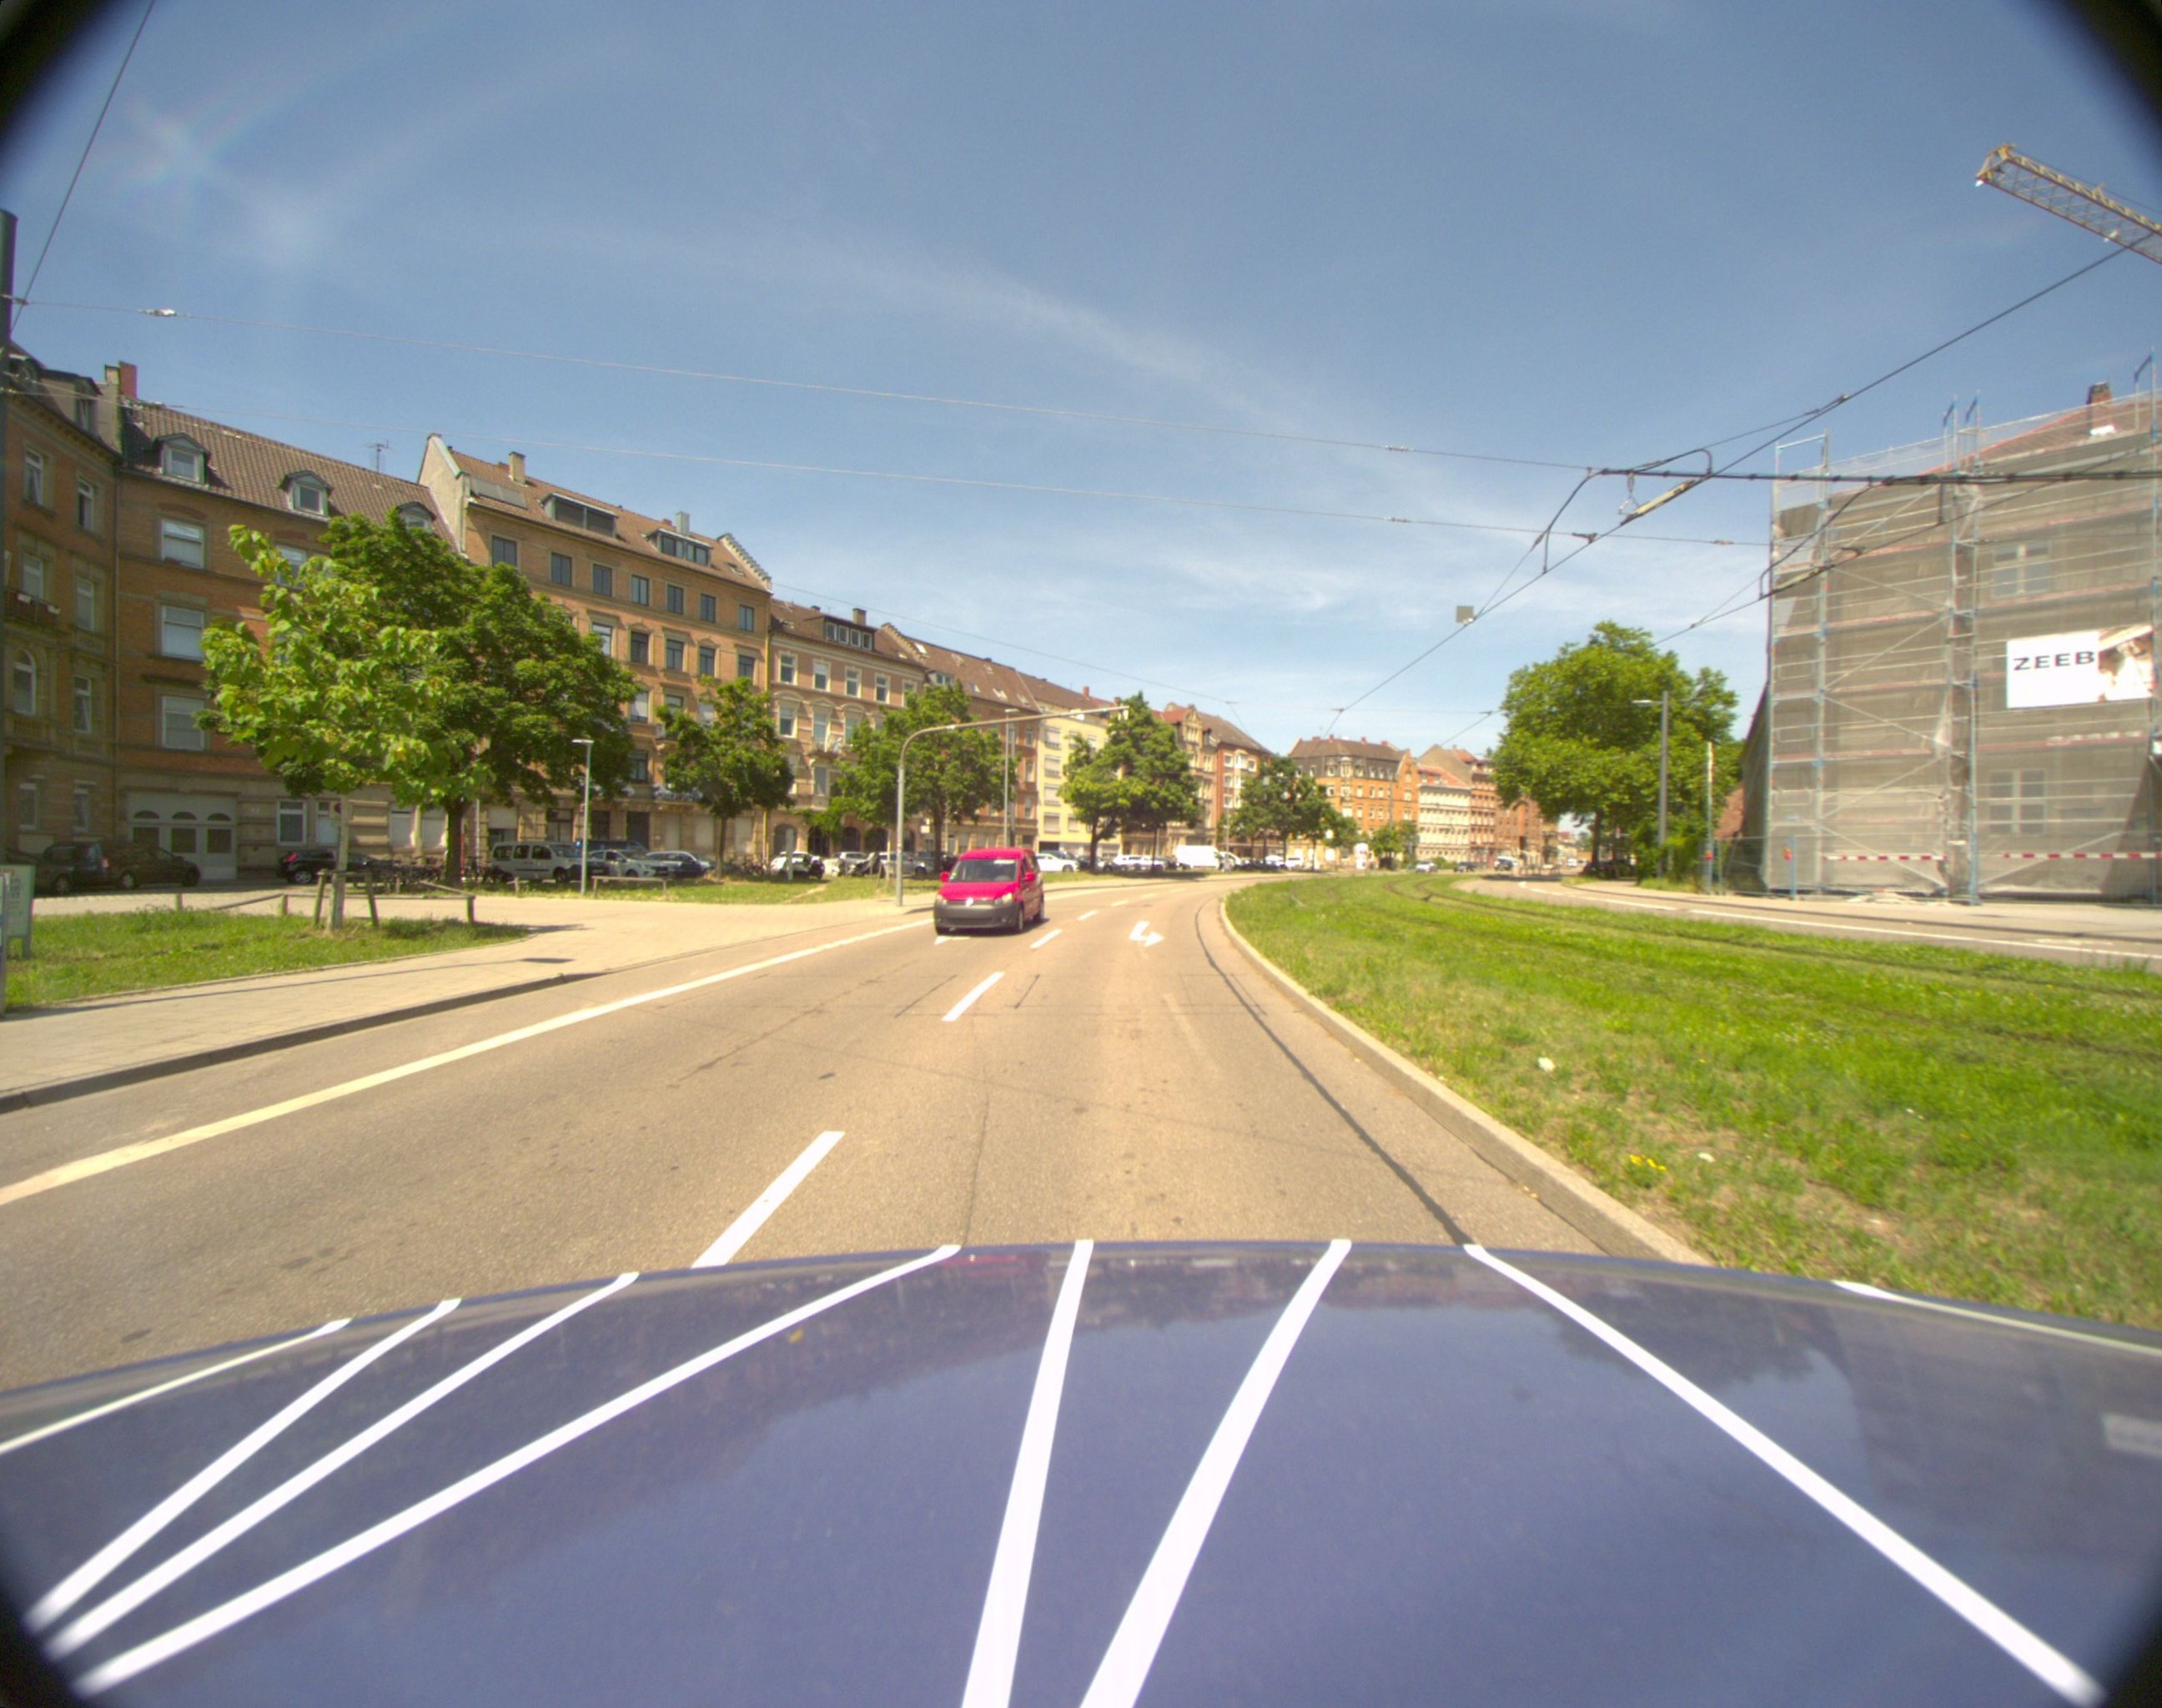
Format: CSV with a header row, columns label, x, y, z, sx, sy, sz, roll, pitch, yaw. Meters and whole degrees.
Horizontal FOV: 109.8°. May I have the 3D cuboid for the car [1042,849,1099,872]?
label,x,y,z,sx,sy,sz,roll,pitch,yaw
car,-0.775,0.516,57.647,3.993,1.652,1.974,-1,-1,12

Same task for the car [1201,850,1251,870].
label,x,y,z,sx,sy,sz,roll,pitch,yaw
car,14.563,0.616,76.540,4.840,1.961,2.078,-1,0,10

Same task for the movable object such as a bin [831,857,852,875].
label,x,y,z,sx,sy,sz,roll,pitch,yaw
movable object such as a bin,-12.372,0.606,39.218,0.703,0.931,0.986,0,-1,-40

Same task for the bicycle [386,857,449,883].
label,x,y,z,sx,sy,sz,roll,pitch,yaw
bicycle,-24.024,0.589,27.519,2.047,0.930,0.509,-1,0,8

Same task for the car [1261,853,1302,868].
label,x,y,z,sx,sy,sz,roll,pitch,yaw
car,22.860,0.740,86.457,4.403,1.622,2.003,-1,-1,17

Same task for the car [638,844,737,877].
label,x,y,z,sx,sy,sz,roll,pitch,yaw
car,-18.076,0.310,34.965,3.862,1.424,1.609,-1,0,10

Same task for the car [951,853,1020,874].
label,x,y,z,sx,sy,sz,roll,pitch,yaw
car,-6.215,0.641,49.419,3.992,1.305,1.975,-1,-1,17

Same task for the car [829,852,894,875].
label,x,y,z,sx,sy,sz,roll,pitch,yaw
car,-15.161,0.680,52.550,1.837,1.521,4.009,-1,-1,37

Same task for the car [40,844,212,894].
label,x,y,z,sx,sy,sz,roll,pitch,yaw
car,-31.715,0.484,25.428,1.779,1.520,4.075,0,-1,-22

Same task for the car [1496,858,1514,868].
label,x,y,z,sx,sy,sz,roll,pitch,yaw
car,64.839,1.339,116.042,1.796,1.564,4.009,-1,-1,38

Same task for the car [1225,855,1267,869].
label,x,y,z,sx,sy,sz,roll,pitch,yaw
car,17.103,0.876,78.753,3.991,1.378,1.826,-1,-1,18

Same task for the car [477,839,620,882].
label,x,y,z,sx,sy,sz,roll,pitch,yaw
car,-21.277,0.275,30.418,4.866,1.591,1.838,-1,0,12

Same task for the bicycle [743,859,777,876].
label,x,y,z,sx,sy,sz,roll,pitch,yaw
bicycle,-15.460,0.635,36.595,1.457,0.800,0.498,0,0,-17

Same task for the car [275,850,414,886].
label,x,y,z,sx,sy,sz,roll,pitch,yaw
car,-31.004,0.583,32.089,1.772,1.411,4.009,-1,-1,38

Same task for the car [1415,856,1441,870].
label,x,y,z,sx,sy,sz,roll,pitch,yaw
car,41.071,1.044,89.944,1.796,1.564,4.009,-1,-1,40

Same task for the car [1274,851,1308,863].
label,x,y,z,sx,sy,sz,roll,pitch,yaw
car,33.625,0.504,121.706,4.841,1.926,2.171,-1,-1,28

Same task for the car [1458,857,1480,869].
label,x,y,z,sx,sy,sz,roll,pitch,yaw
car,51.616,1.166,101.020,1.796,1.564,4.009,-1,-1,40

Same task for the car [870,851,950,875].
label,x,y,z,sx,sy,sz,roll,pitch,yaw
car,-10.051,0.521,44.754,4.340,1.368,1.584,-1,-1,13

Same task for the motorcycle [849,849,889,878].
label,x,y,z,sx,sy,sz,roll,pitch,yaw
motorcycle,-10.746,0.472,38.546,0.675,1.405,1.861,2,1,40

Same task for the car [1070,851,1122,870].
label,x,y,z,sx,sy,sz,roll,pitch,yaw
car,1.208,0.512,59.702,3.996,1.392,1.713,-1,0,3

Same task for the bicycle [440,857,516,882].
label,x,y,z,sx,sy,sz,roll,pitch,yaw
bicycle,-23.203,0.604,29.247,2.426,0.930,0.508,0,0,-4

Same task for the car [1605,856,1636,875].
label,x,y,z,sx,sy,sz,roll,pitch,yaw
car,51.701,1.111,72.817,1.994,1.800,4.310,-1,-1,41

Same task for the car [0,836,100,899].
label,x,y,z,sx,sy,sz,roll,pitch,yaw
car,-28.724,0.373,19.974,1.697,1.615,4.123,0,-1,-21

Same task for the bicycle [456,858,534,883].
label,x,y,z,sx,sy,sz,roll,pitch,yaw
bicycle,-22.082,0.616,28.650,2.426,0.930,0.508,-1,0,-4

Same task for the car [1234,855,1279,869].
label,x,y,z,sx,sy,sz,roll,pitch,yaw
car,18.889,0.864,81.532,4.624,1.488,1.968,-1,-1,15

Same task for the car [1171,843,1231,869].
label,x,y,z,sx,sy,sz,roll,pitch,yaw
car,11.643,0.226,73.973,5.546,2.446,2.239,-1,0,2

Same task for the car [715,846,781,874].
label,x,y,z,sx,sy,sz,roll,pitch,yaw
car,-17.497,0.341,39.820,1.961,1.368,3.989,0,-1,-43

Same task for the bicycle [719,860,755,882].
label,x,y,z,sx,sy,sz,roll,pitch,yaw
bicycle,-15.043,0.722,33.213,1.373,0.941,0.475,0,0,-30

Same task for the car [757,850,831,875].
label,x,y,z,sx,sy,sz,roll,pitch,yaw
car,-18.299,0.530,48.614,1.837,1.521,4.009,-1,-1,41

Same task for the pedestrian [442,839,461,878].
label,x,y,z,sx,sy,sz,roll,pitch,yaw
pedestrian,-28.952,0.205,34.956,0.452,1.808,0.604,-1,0,39

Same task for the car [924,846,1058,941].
label,x,y,z,sx,sy,sz,roll,pitch,yaw
car,-1.832,0.794,17.238,1.858,1.823,5.169,-1,-1,6

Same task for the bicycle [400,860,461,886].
label,x,y,z,sx,sy,sz,roll,pitch,yaw
bicycle,-23.981,0.704,28.014,2.047,0.930,0.509,-1,0,8

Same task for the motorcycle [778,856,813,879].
label,x,y,z,sx,sy,sz,roll,pitch,yaw
motorcycle,-13.686,0.651,36.408,1.823,1.113,0.529,-1,0,32

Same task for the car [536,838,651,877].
label,x,y,z,sx,sy,sz,roll,pitch,yaw
car,-25.355,0.208,39.660,1.920,1.892,4.664,-1,-1,39

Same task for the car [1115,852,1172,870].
label,x,y,z,sx,sy,sz,roll,pitch,yaw
car,5.285,0.600,64.625,4.688,1.419,1.973,-1,-1,2

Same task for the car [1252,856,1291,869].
label,x,y,z,sx,sy,sz,roll,pitch,yaw
car,21.040,0.902,83.823,3.991,1.391,1.826,-1,-1,18

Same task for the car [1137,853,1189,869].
label,x,y,z,sx,sy,sz,roll,pitch,yaw
car,7.261,0.627,67.465,4.427,1.330,1.973,-1,-1,2

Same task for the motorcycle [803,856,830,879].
label,x,y,z,sx,sy,sz,roll,pitch,yaw
motorcycle,-12.925,0.657,37.107,1.521,1.113,0.479,-1,0,39

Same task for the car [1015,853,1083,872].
label,x,y,z,sx,sy,sz,roll,pitch,yaw
car,-2.297,0.625,54.958,4.785,1.305,2.149,-1,-1,-2

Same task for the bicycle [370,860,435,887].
label,x,y,z,sx,sy,sz,roll,pitch,yaw
bicycle,-24.065,0.683,26.949,2.047,0.930,0.509,-1,0,8

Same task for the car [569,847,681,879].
label,x,y,z,sx,sy,sz,roll,pitch,yaw
car,-19.612,0.387,32.741,3.993,1.324,1.761,-1,-1,12

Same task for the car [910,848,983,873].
label,x,y,z,sx,sy,sz,roll,pitch,yaw
car,-8.345,0.411,47.176,4.085,1.461,1.800,-1,-1,12

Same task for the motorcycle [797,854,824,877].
label,x,y,z,sx,sy,sz,roll,pitch,yaw
motorcycle,-14.637,0.599,41.091,0.814,1.229,2.080,0,0,-35
